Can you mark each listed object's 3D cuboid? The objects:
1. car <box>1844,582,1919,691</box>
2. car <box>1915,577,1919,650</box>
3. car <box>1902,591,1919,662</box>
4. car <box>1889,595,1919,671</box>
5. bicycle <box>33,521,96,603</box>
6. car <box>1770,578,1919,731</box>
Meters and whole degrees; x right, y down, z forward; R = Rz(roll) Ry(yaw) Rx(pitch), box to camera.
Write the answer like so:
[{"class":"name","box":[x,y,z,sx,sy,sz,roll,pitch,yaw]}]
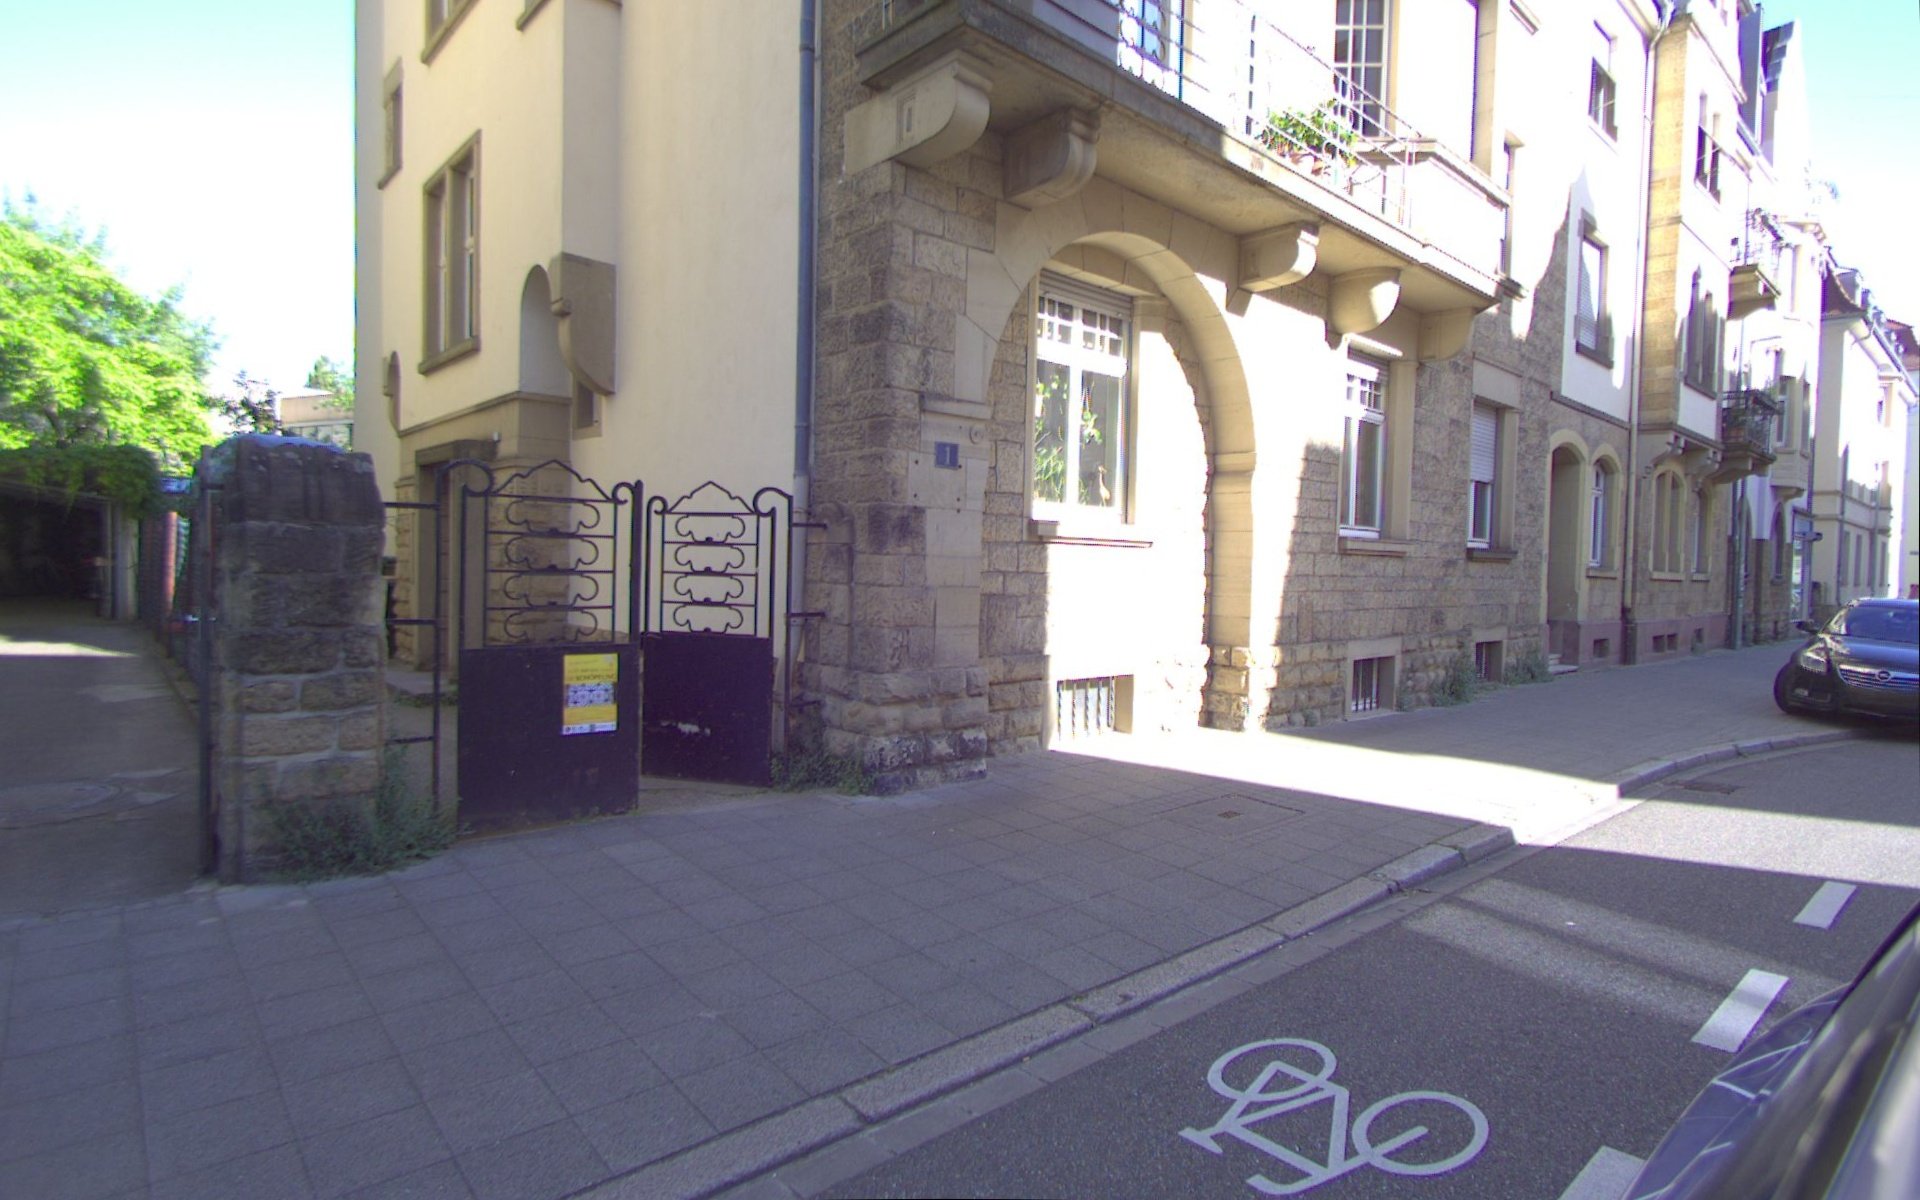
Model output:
[{"class":"car","box":[15.530,0.569,15.866,4.247,1.527,2.004,0,3,-42]},{"class":"car","box":[26.233,0.340,26.049,4.247,1.860,2.004,-1,4,-42]},{"class":"car","box":[22.170,0.585,22.192,4.247,1.440,1.823,-1,4,-42]},{"class":"car","box":[18.794,0.622,18.970,3.667,1.295,1.659,-1,4,-42]},{"class":"bicycle","box":[-18.302,-0.811,20.724,0.903,1.530,2.672,0,4,-41]},{"class":"car","box":[11.486,0.572,12.169,4.043,1.526,2.023,-1,5,-42]}]
